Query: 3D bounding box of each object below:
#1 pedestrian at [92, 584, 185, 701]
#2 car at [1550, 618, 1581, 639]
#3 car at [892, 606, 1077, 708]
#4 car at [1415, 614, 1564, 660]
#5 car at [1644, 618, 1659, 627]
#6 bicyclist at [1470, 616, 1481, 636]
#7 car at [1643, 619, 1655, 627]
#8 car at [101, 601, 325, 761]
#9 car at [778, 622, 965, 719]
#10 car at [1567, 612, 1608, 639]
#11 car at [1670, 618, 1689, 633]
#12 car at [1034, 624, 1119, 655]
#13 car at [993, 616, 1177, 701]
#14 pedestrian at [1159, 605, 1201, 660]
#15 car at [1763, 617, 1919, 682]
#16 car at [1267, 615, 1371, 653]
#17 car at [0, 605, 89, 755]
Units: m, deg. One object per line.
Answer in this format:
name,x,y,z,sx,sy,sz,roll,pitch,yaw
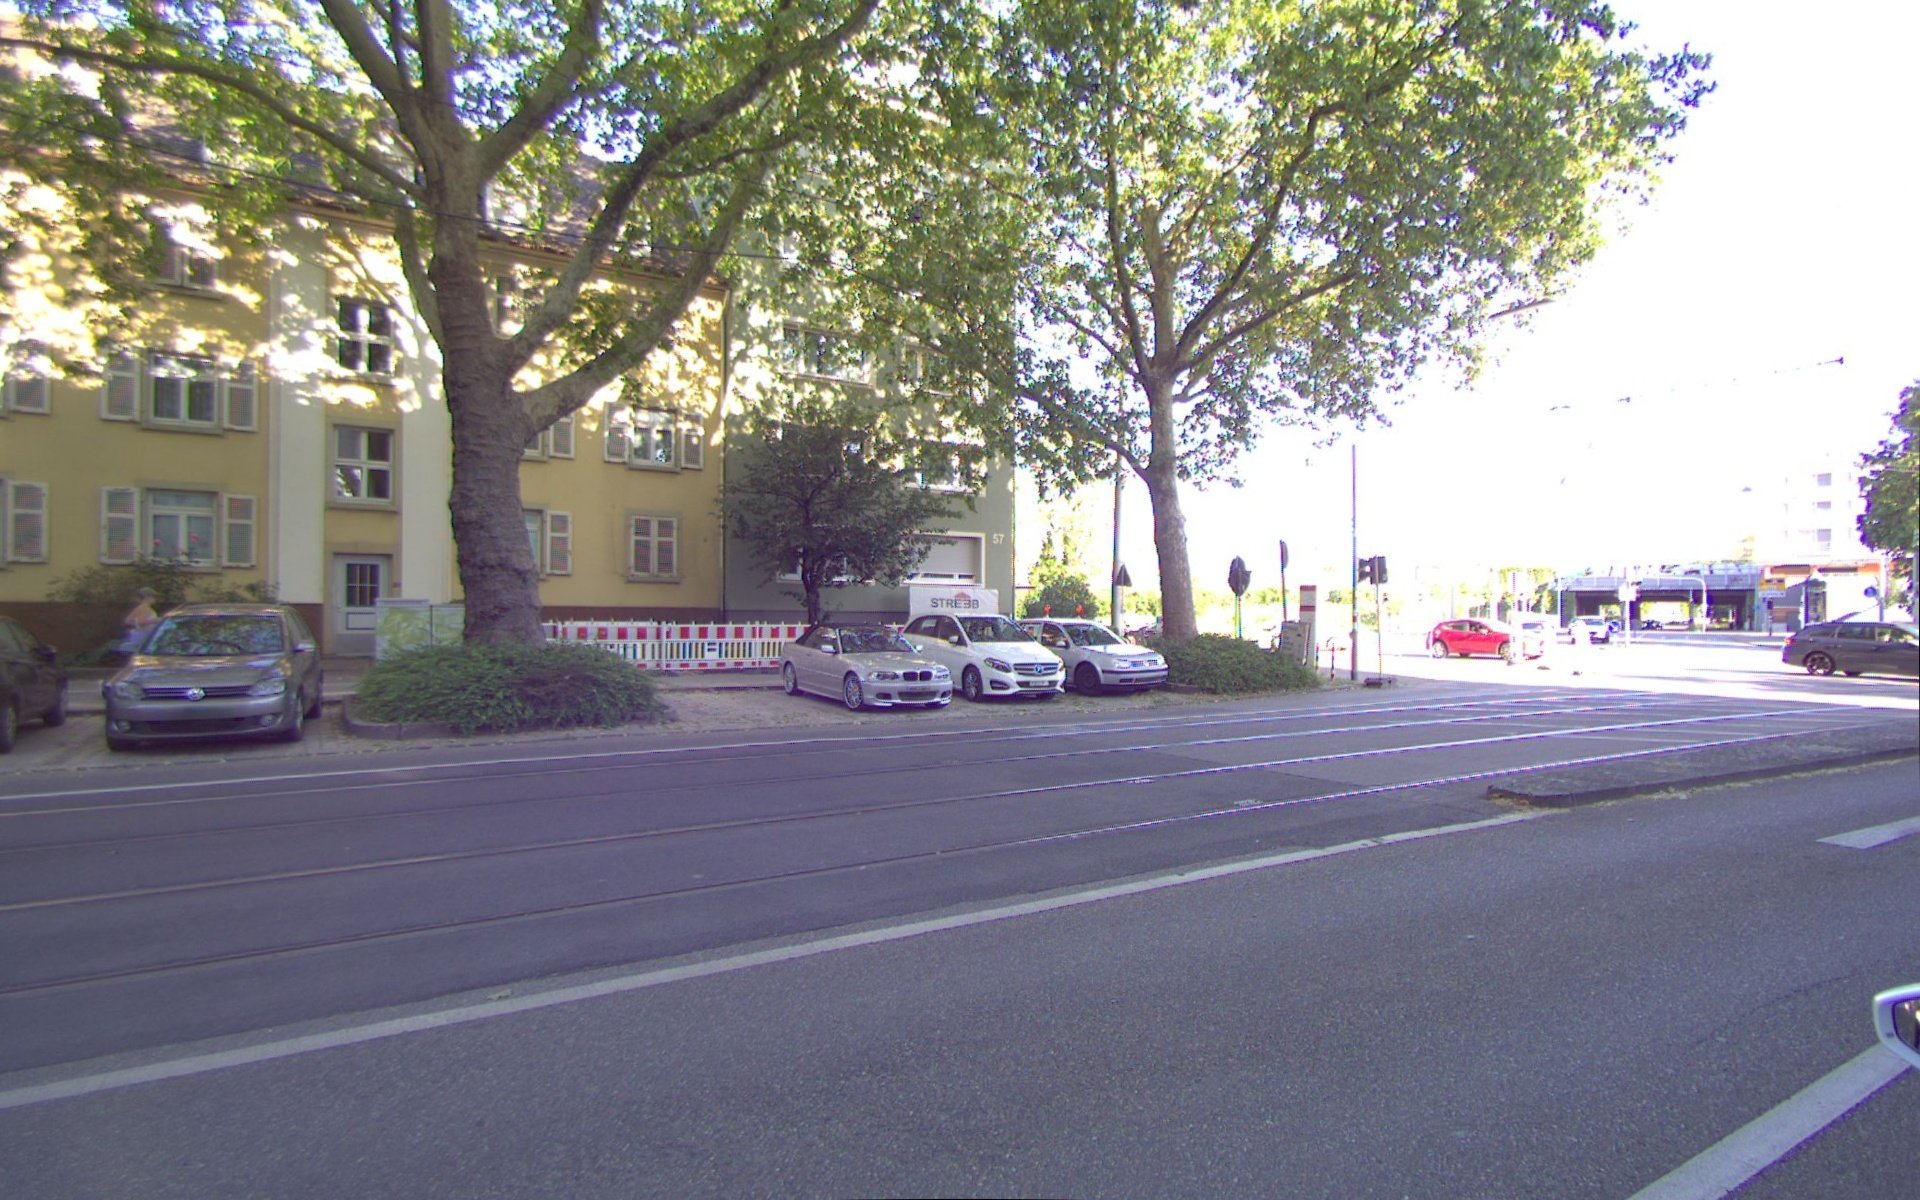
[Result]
pedestrian,-12.254,0.621,15.017,0.945,1.683,0.768,2,0,-33
car,50.749,2.375,84.127,1.860,1.606,3.823,2,0,37
car,0.354,0.988,19.153,1.651,1.669,3.949,1,0,-31
car,19.418,1.312,37.013,2.001,1.586,4.450,1,-1,-33
car,104.341,3.411,151.557,1.555,1.277,3.421,0,-1,30
bicyclist,32.554,1.616,63.398,0.519,1.239,0.527,0,0,38
car,120.215,4.041,175.318,1.555,1.277,3.421,0,-1,30
car,-8.996,0.838,12.415,1.652,1.602,3.953,1,0,-29
car,-1.646,1.114,17.308,1.651,1.370,3.949,1,0,-31
car,39.452,1.612,63.118,1.860,1.606,3.823,2,0,37
car,83.522,2.987,116.663,1.731,1.706,3.729,2,0,36
car,6.134,2.047,52.975,4.133,1.539,1.799,-1,0,32
car,2.445,1.115,20.527,1.651,1.473,3.949,1,0,-31
pedestrian,6.812,0.995,31.103,0.919,1.669,0.841,2,0,-30
car,23.524,1.224,25.390,1.912,1.493,4.713,1,0,-24
car,16.481,1.537,46.183,4.125,1.572,1.992,2,0,34
car,-11.462,0.839,11.384,1.652,1.518,3.778,1,0,-29
